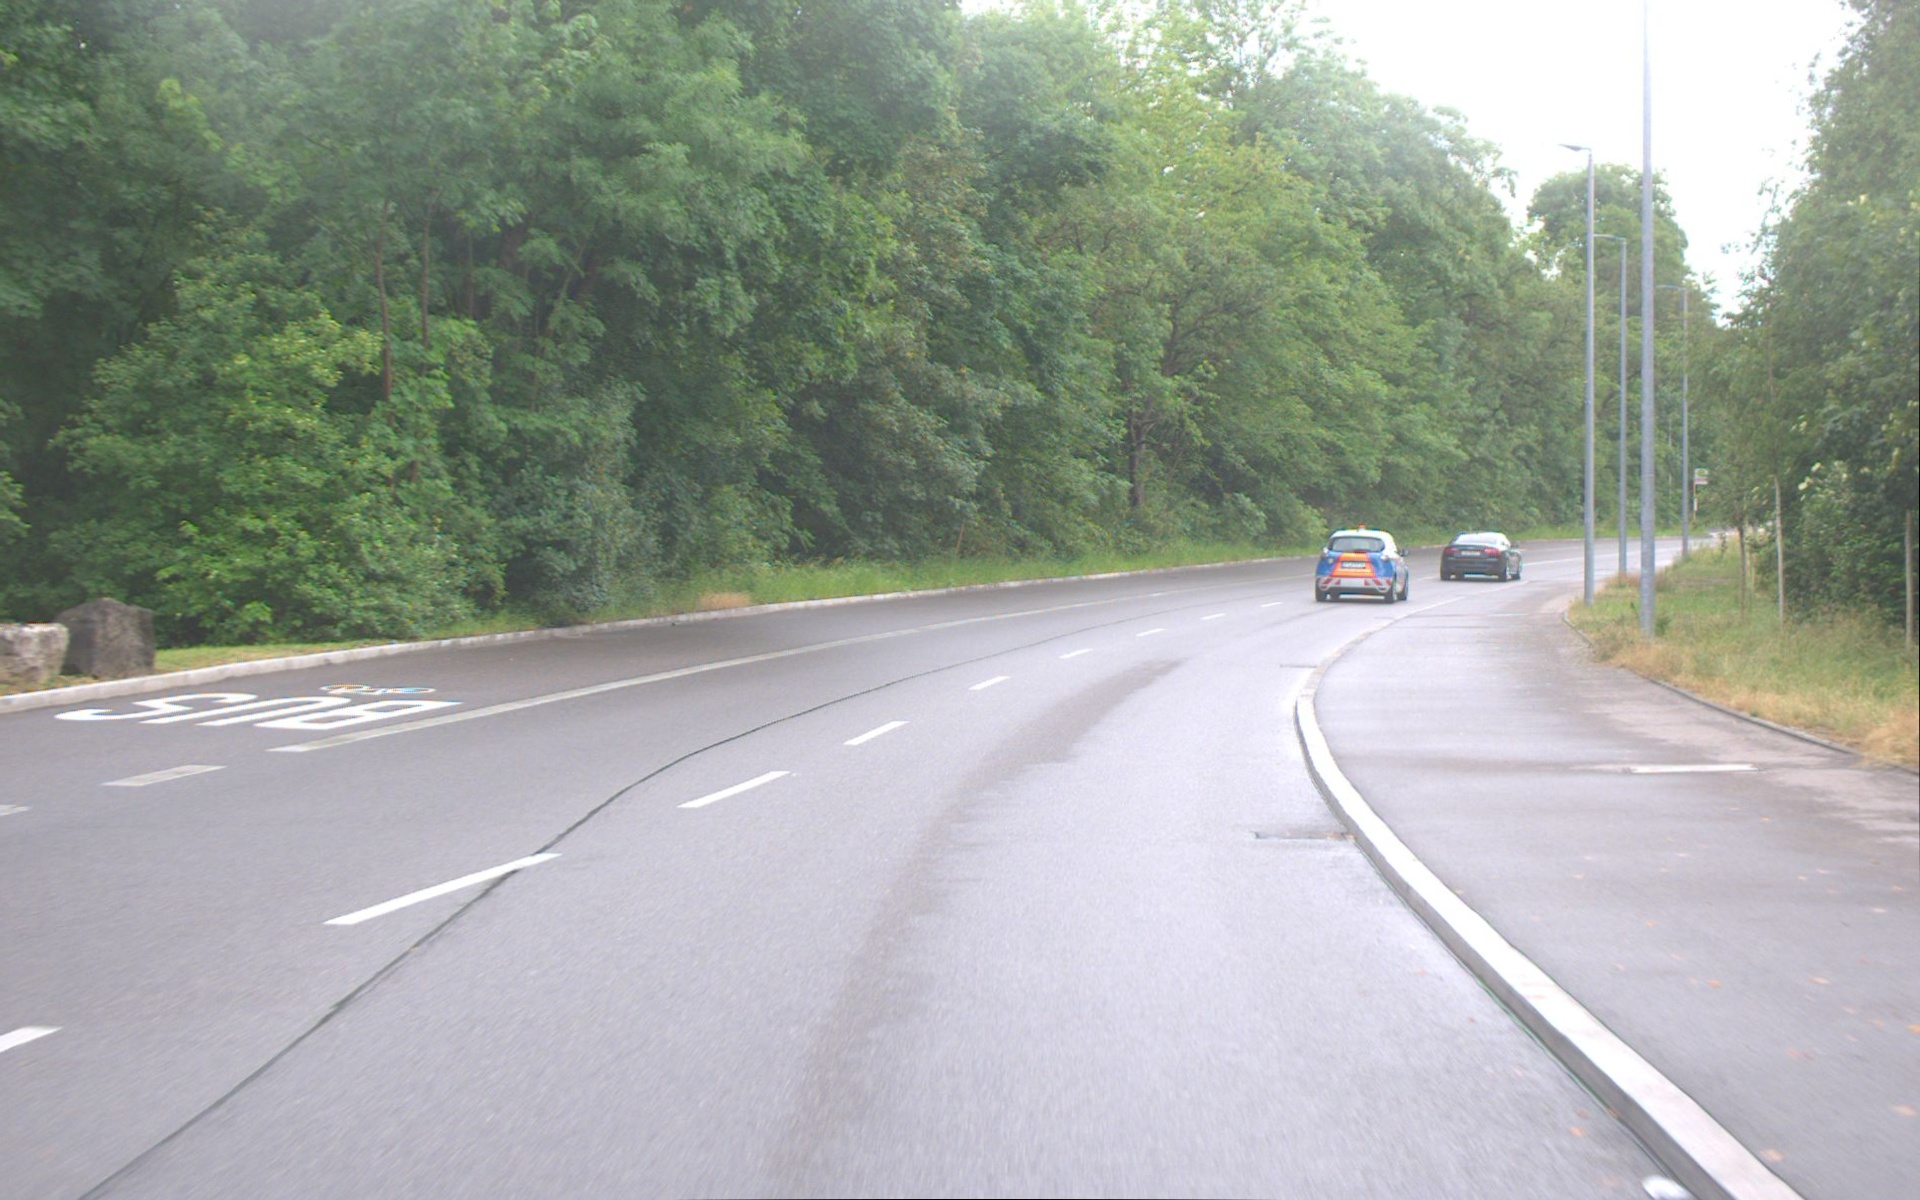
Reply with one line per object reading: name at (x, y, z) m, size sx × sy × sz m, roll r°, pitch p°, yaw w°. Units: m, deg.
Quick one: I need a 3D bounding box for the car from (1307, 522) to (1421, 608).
car at (8.910, -0.784, 75.528) m, size 1.995 × 1.683 × 3.998 m, roll 0°, pitch 3°, yaw 14°

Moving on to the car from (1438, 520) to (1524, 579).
car at (14.654, -1.420, 96.555) m, size 1.928 × 1.481 × 3.797 m, roll 0°, pitch 3°, yaw 15°
